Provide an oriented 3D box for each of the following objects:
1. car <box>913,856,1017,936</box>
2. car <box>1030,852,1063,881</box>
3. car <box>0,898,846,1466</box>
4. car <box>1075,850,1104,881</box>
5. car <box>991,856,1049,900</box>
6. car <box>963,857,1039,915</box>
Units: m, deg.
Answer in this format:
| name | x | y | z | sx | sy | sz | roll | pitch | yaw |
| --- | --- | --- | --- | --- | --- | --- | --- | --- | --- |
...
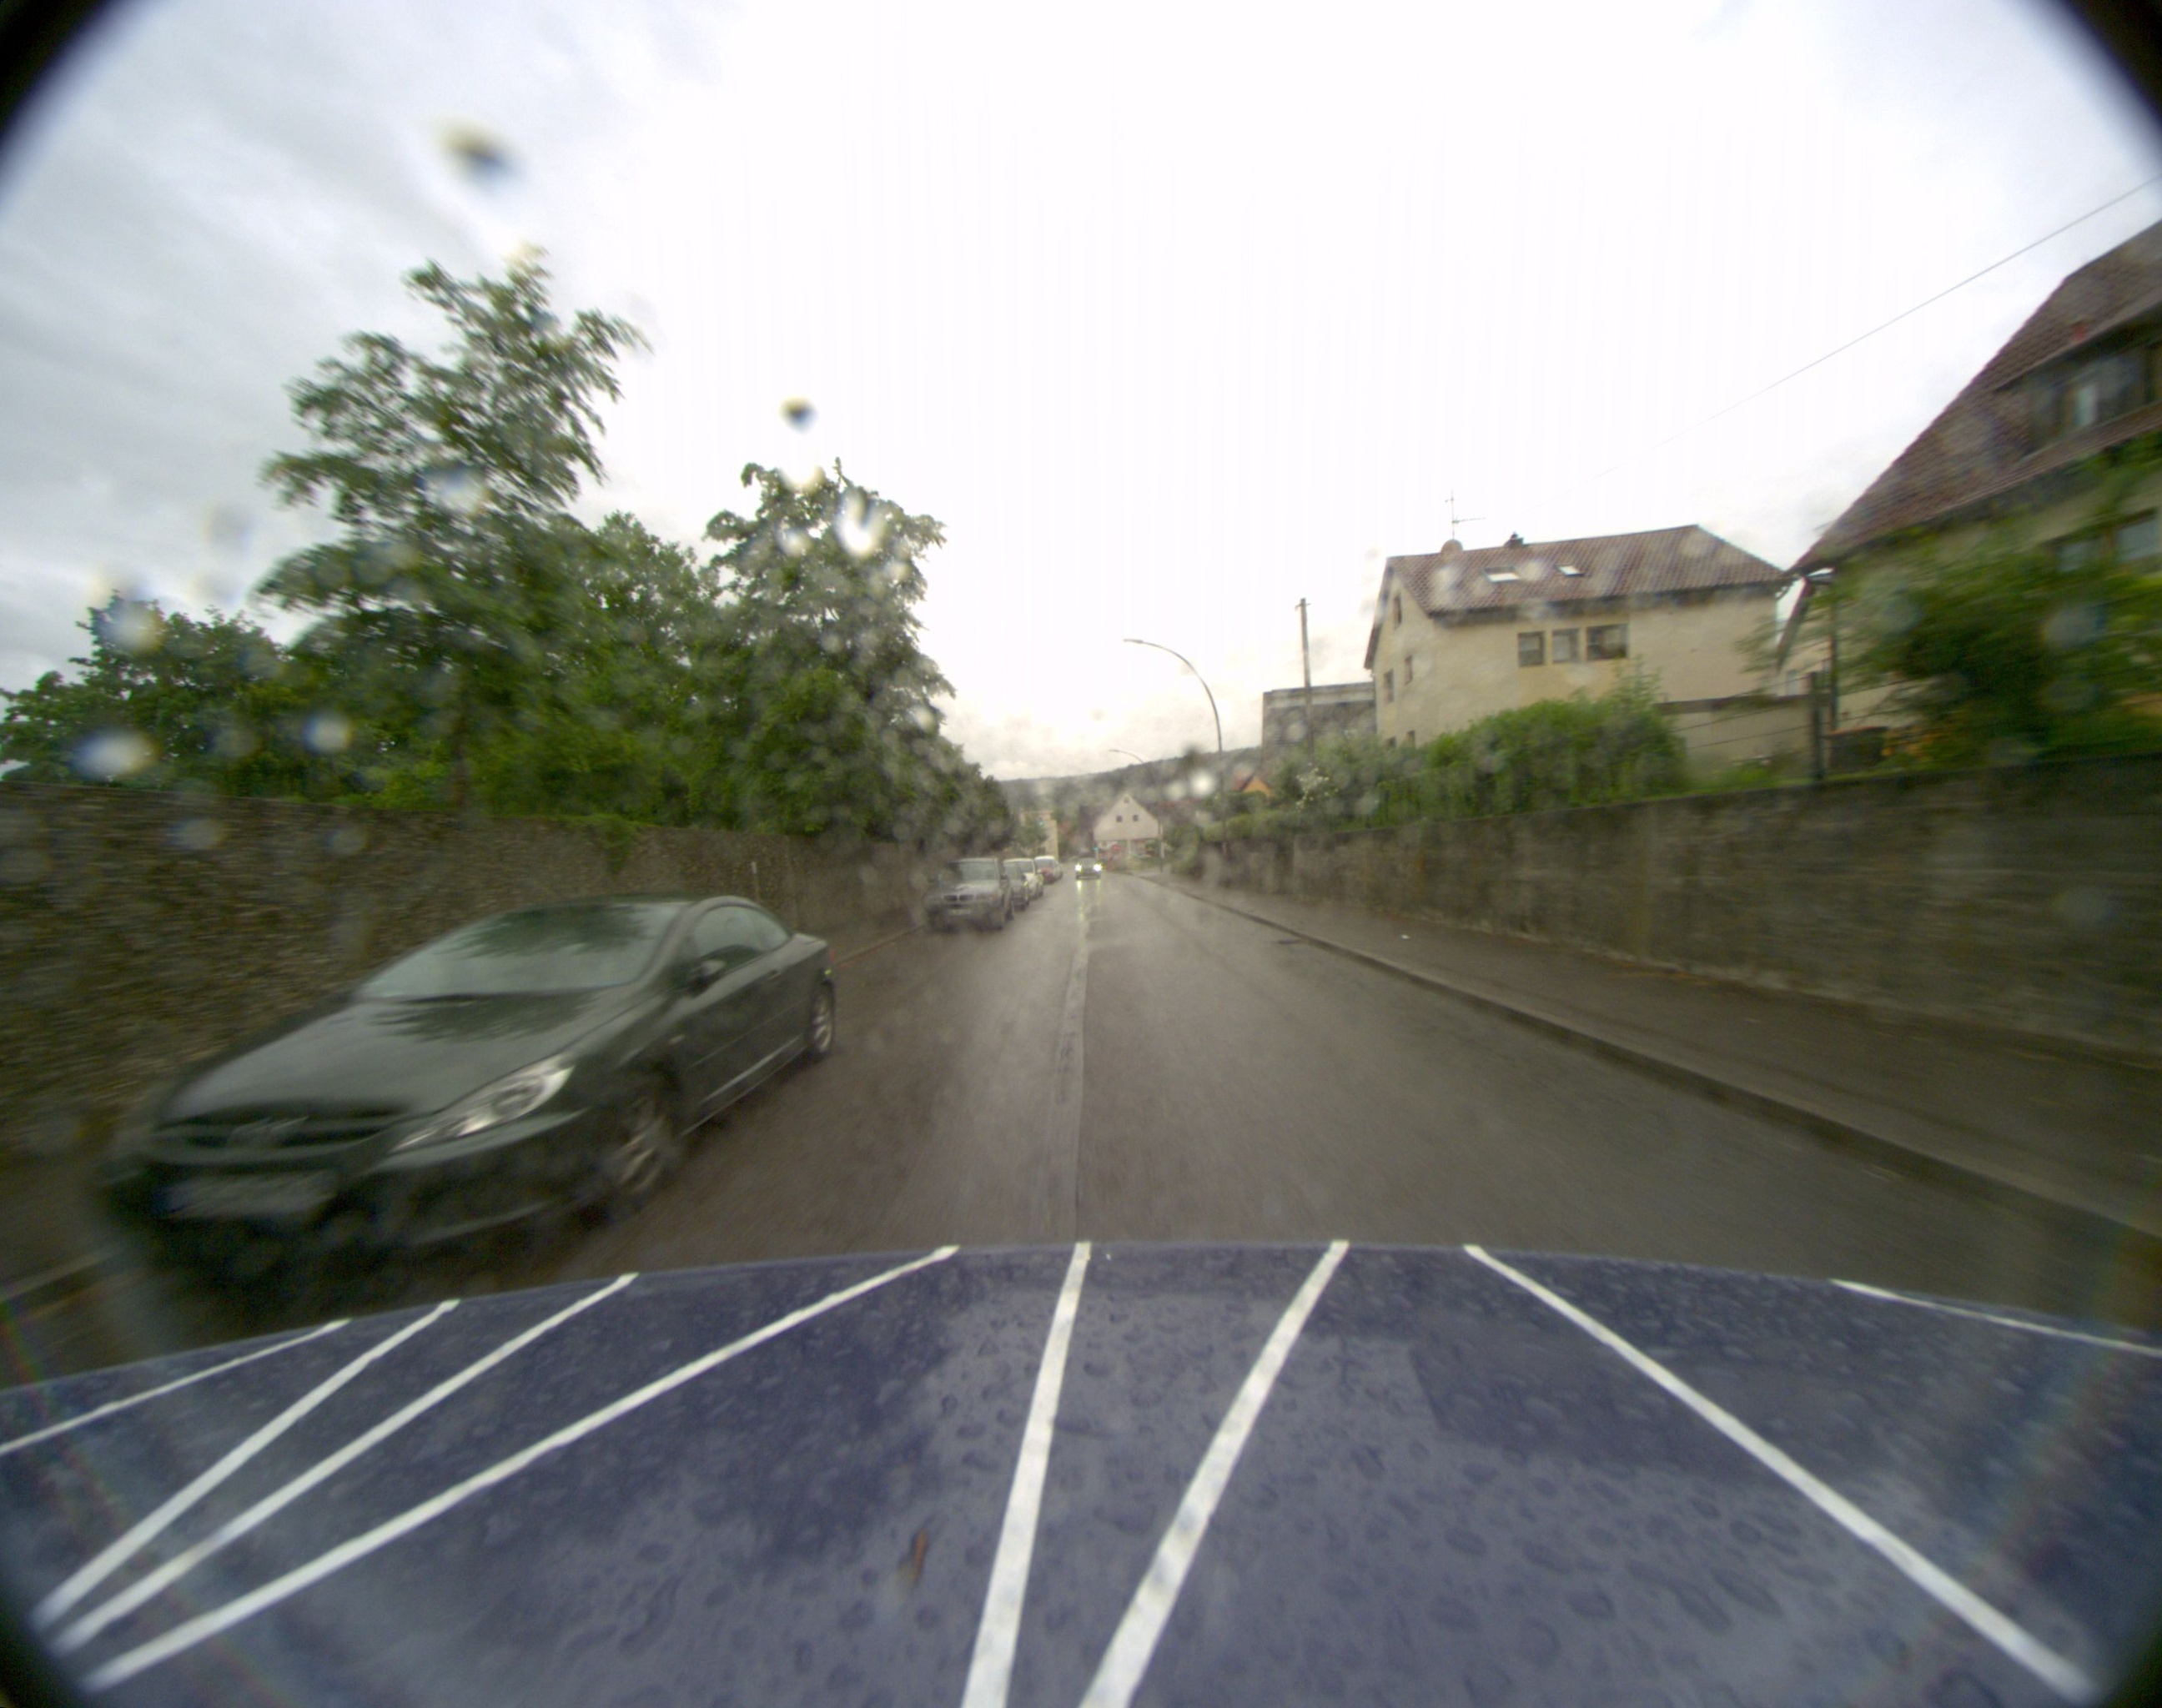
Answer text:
| name | x | y | z | sx | sy | sz | roll | pitch | yaw |
| --- | --- | --- | --- | --- | --- | --- | --- | --- | --- |
| car | -2.636 | 0.907 | 18.241 | 1.833 | 1.620 | 4.153 | -2 | 0 | 0 |
| car | -2.336 | 0.820 | 52.781 | 1.949 | 1.783 | 4.186 | -2 | 1 | 1 |
| car | -2.868 | 1.109 | 4.349 | 1.764 | 1.410 | 4.153 | -2 | 0 | -1 |
| car | 0.628 | 0.802 | 56.760 | 1.998 | 2.002 | 3.999 | -3 | 2 | 0 |
| car | -2.411 | 0.924 | 30.993 | 1.833 | 1.620 | 4.154 | -2 | 0 | 2 |
| car | -2.487 | 0.951 | 24.584 | 1.833 | 1.620 | 4.154 | -2 | 0 | 2 |
